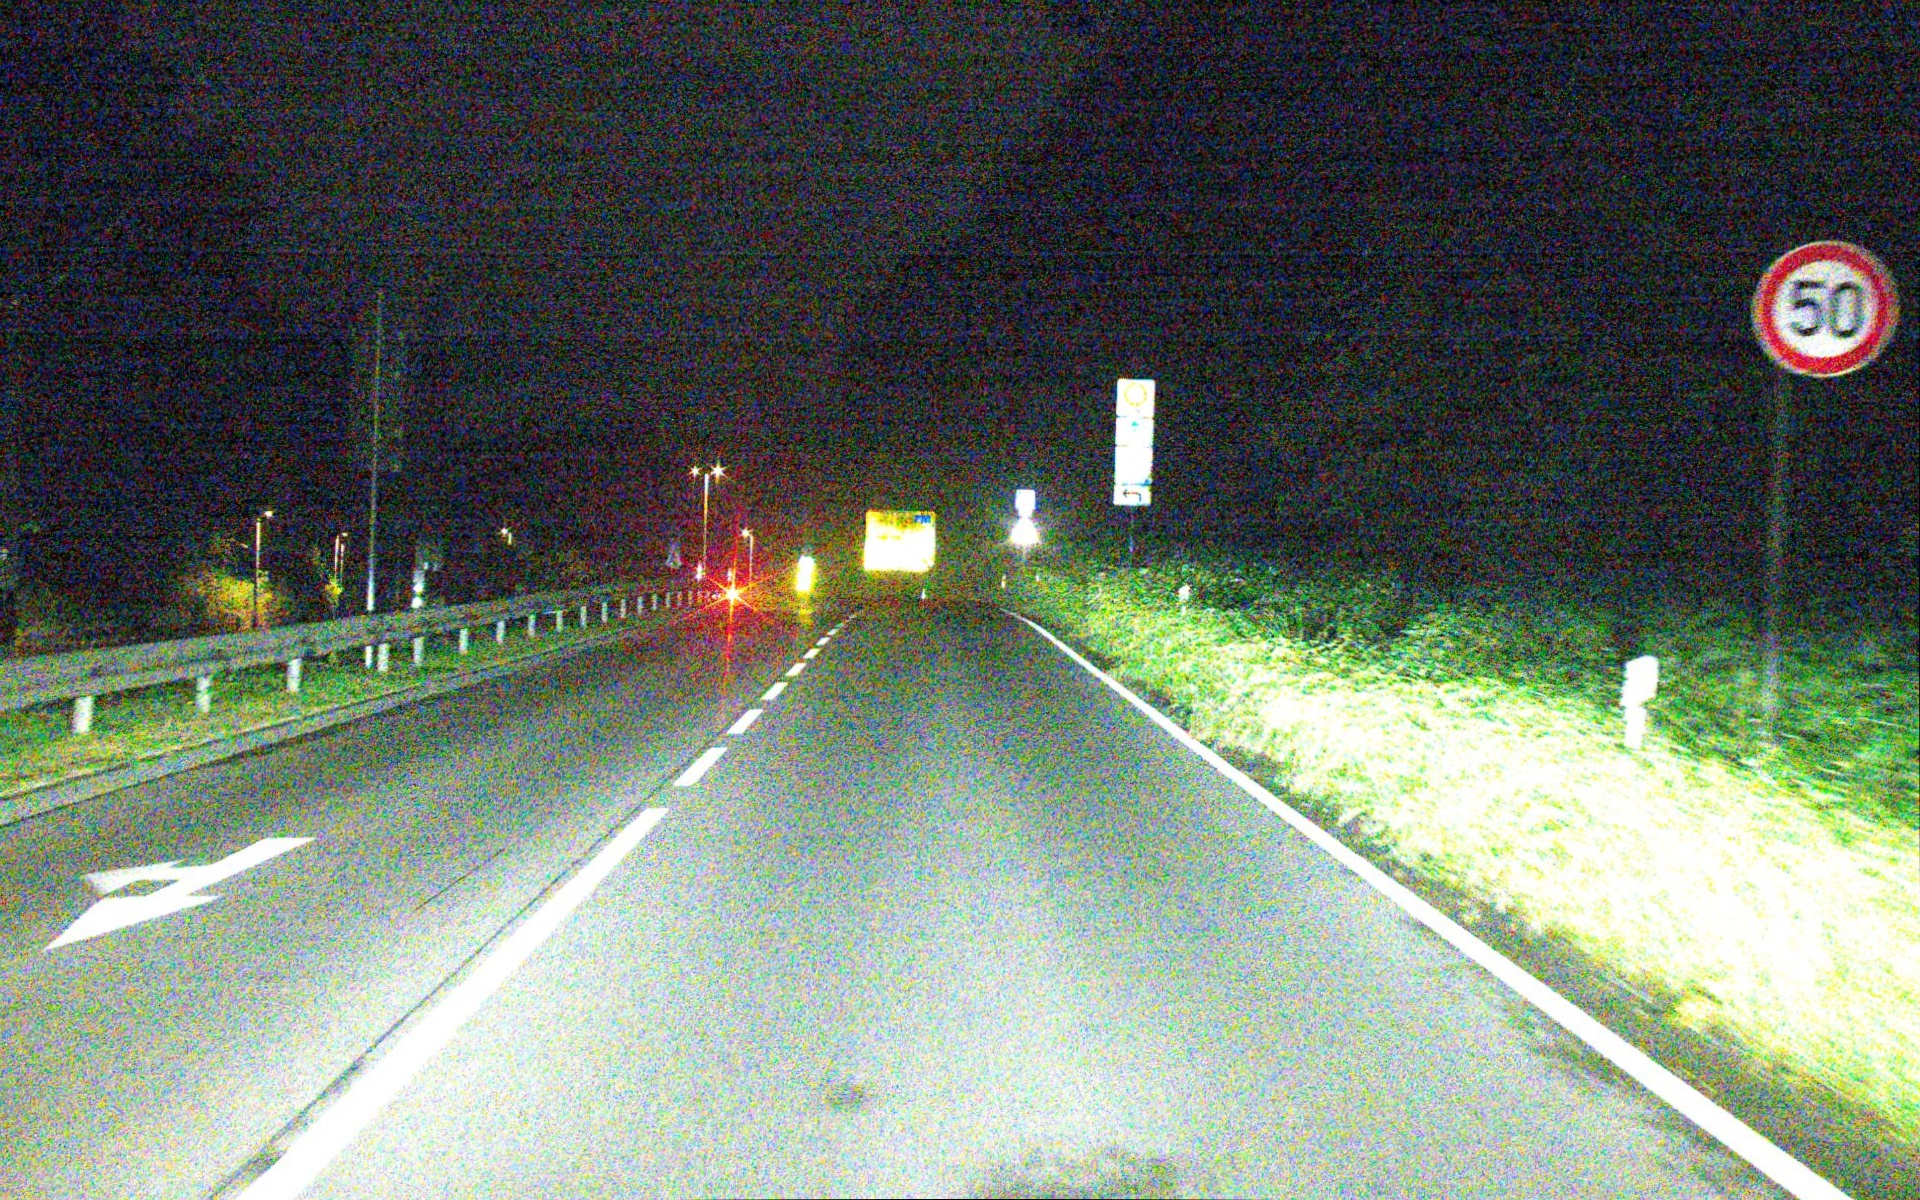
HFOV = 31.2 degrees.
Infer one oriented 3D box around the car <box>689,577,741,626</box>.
[{"bbox_3d":[-11.180,0.077,156.575,1.993,2.007,4.000,3,-2,-8],"label":"car"}]
